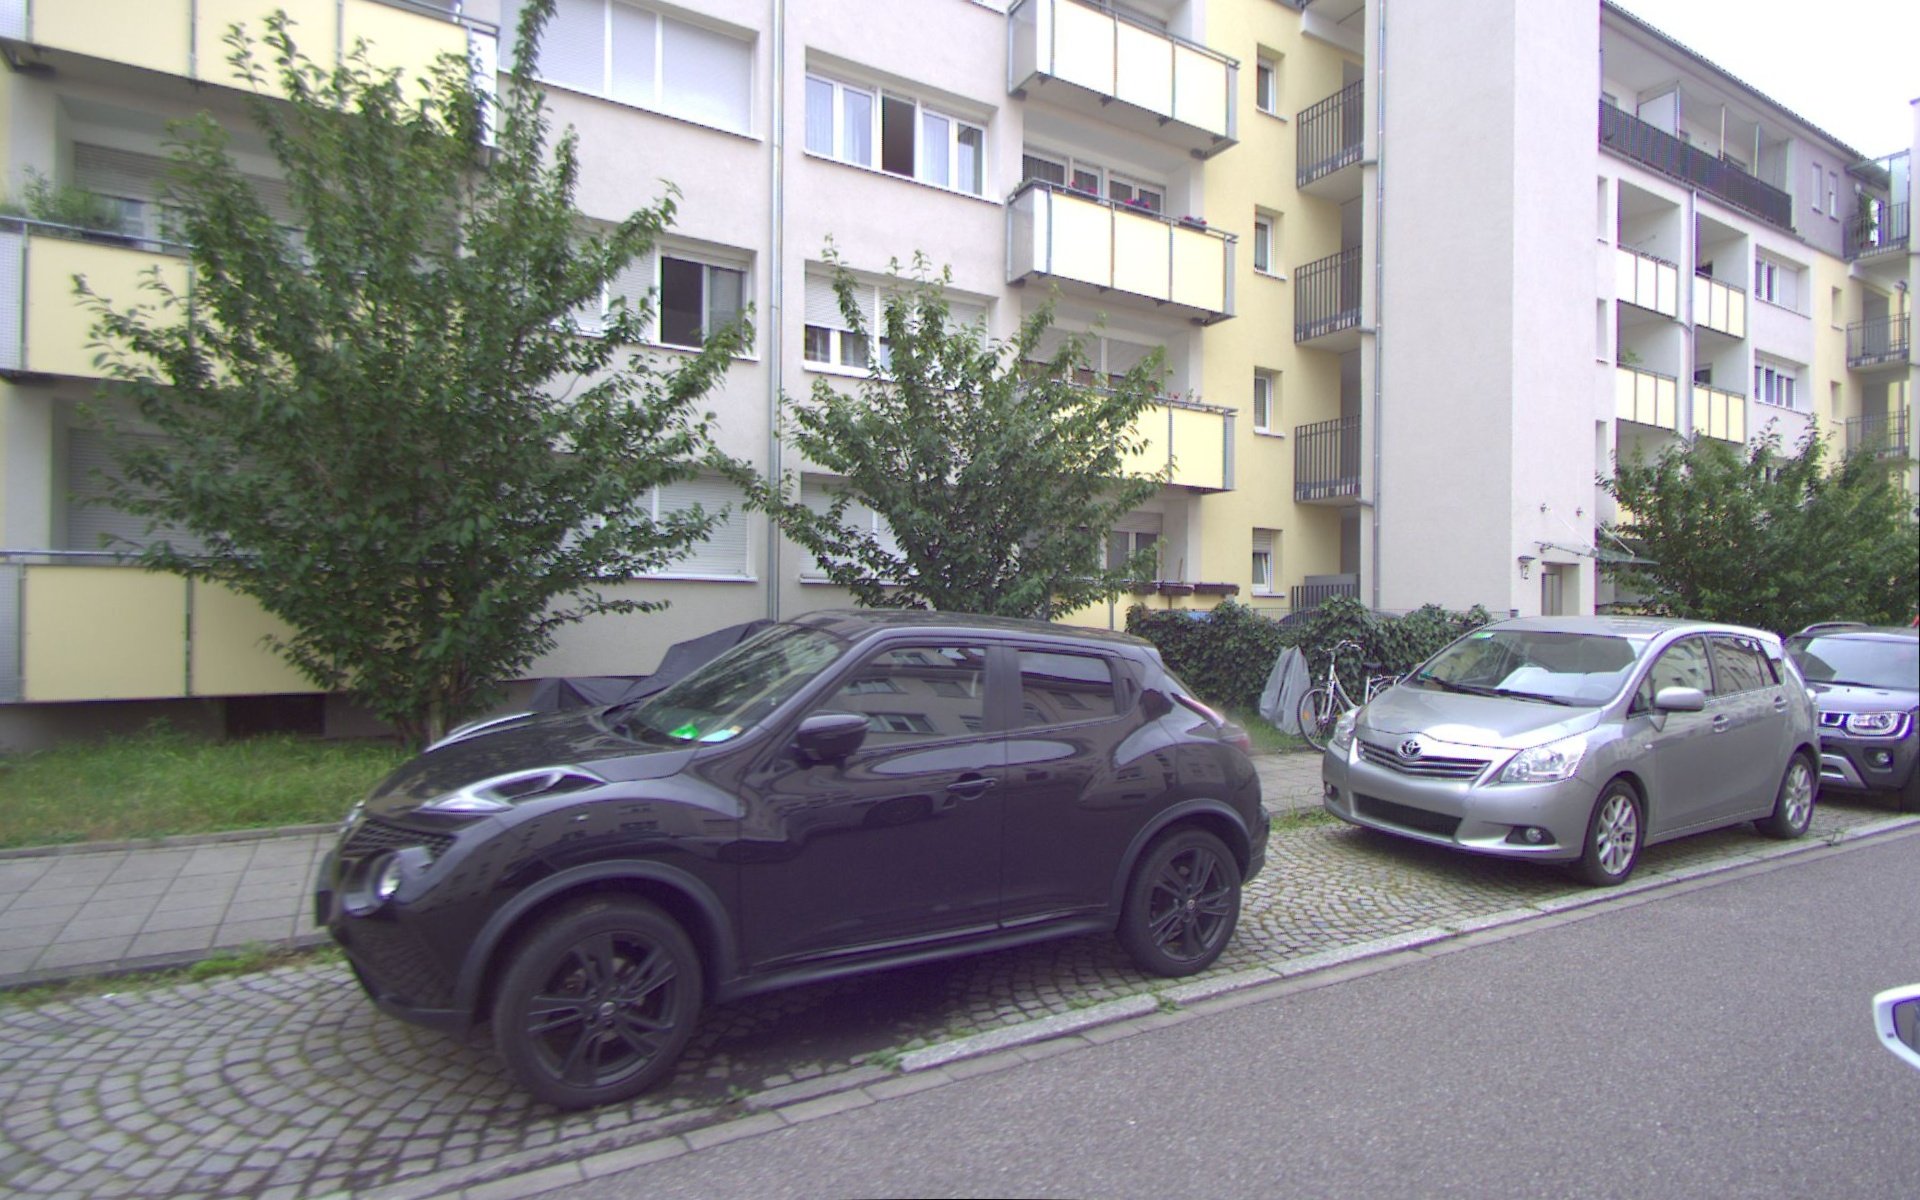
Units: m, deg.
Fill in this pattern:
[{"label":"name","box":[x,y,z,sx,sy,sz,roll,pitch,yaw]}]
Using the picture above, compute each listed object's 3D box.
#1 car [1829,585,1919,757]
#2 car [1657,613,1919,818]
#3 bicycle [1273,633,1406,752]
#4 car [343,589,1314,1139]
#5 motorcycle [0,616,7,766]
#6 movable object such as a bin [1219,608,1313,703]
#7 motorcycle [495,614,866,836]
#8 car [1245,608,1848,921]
[{"label":"car","box":[13.308,0.875,12.739,4.868,1.980,2.139,1,1,-33]},{"label":"car","box":[8.824,0.972,9.861,4.007,1.591,1.712,1,1,-31]},{"label":"bicycle","box":[4.162,0.964,10.971,1.712,1.207,0.547,1,-2,-38]},{"label":"car","box":[-0.437,0.782,4.513,3.846,1.551,1.646,1,1,-28]},{"label":"motorcycle","box":[-7.185,0.672,6.912,0.587,1.144,1.739,1,-2,-33]},{"label":"movable object such as a bin","box":[4.519,0.797,14.837,1.025,1.341,0.888,1,-1,-32]},{"label":"motorcycle","box":[-1.936,0.782,7.101,2.391,1.324,0.865,1,1,-30]},{"label":"car","box":[4.457,0.910,7.372,4.809,1.591,1.824,1,1,-33]}]
